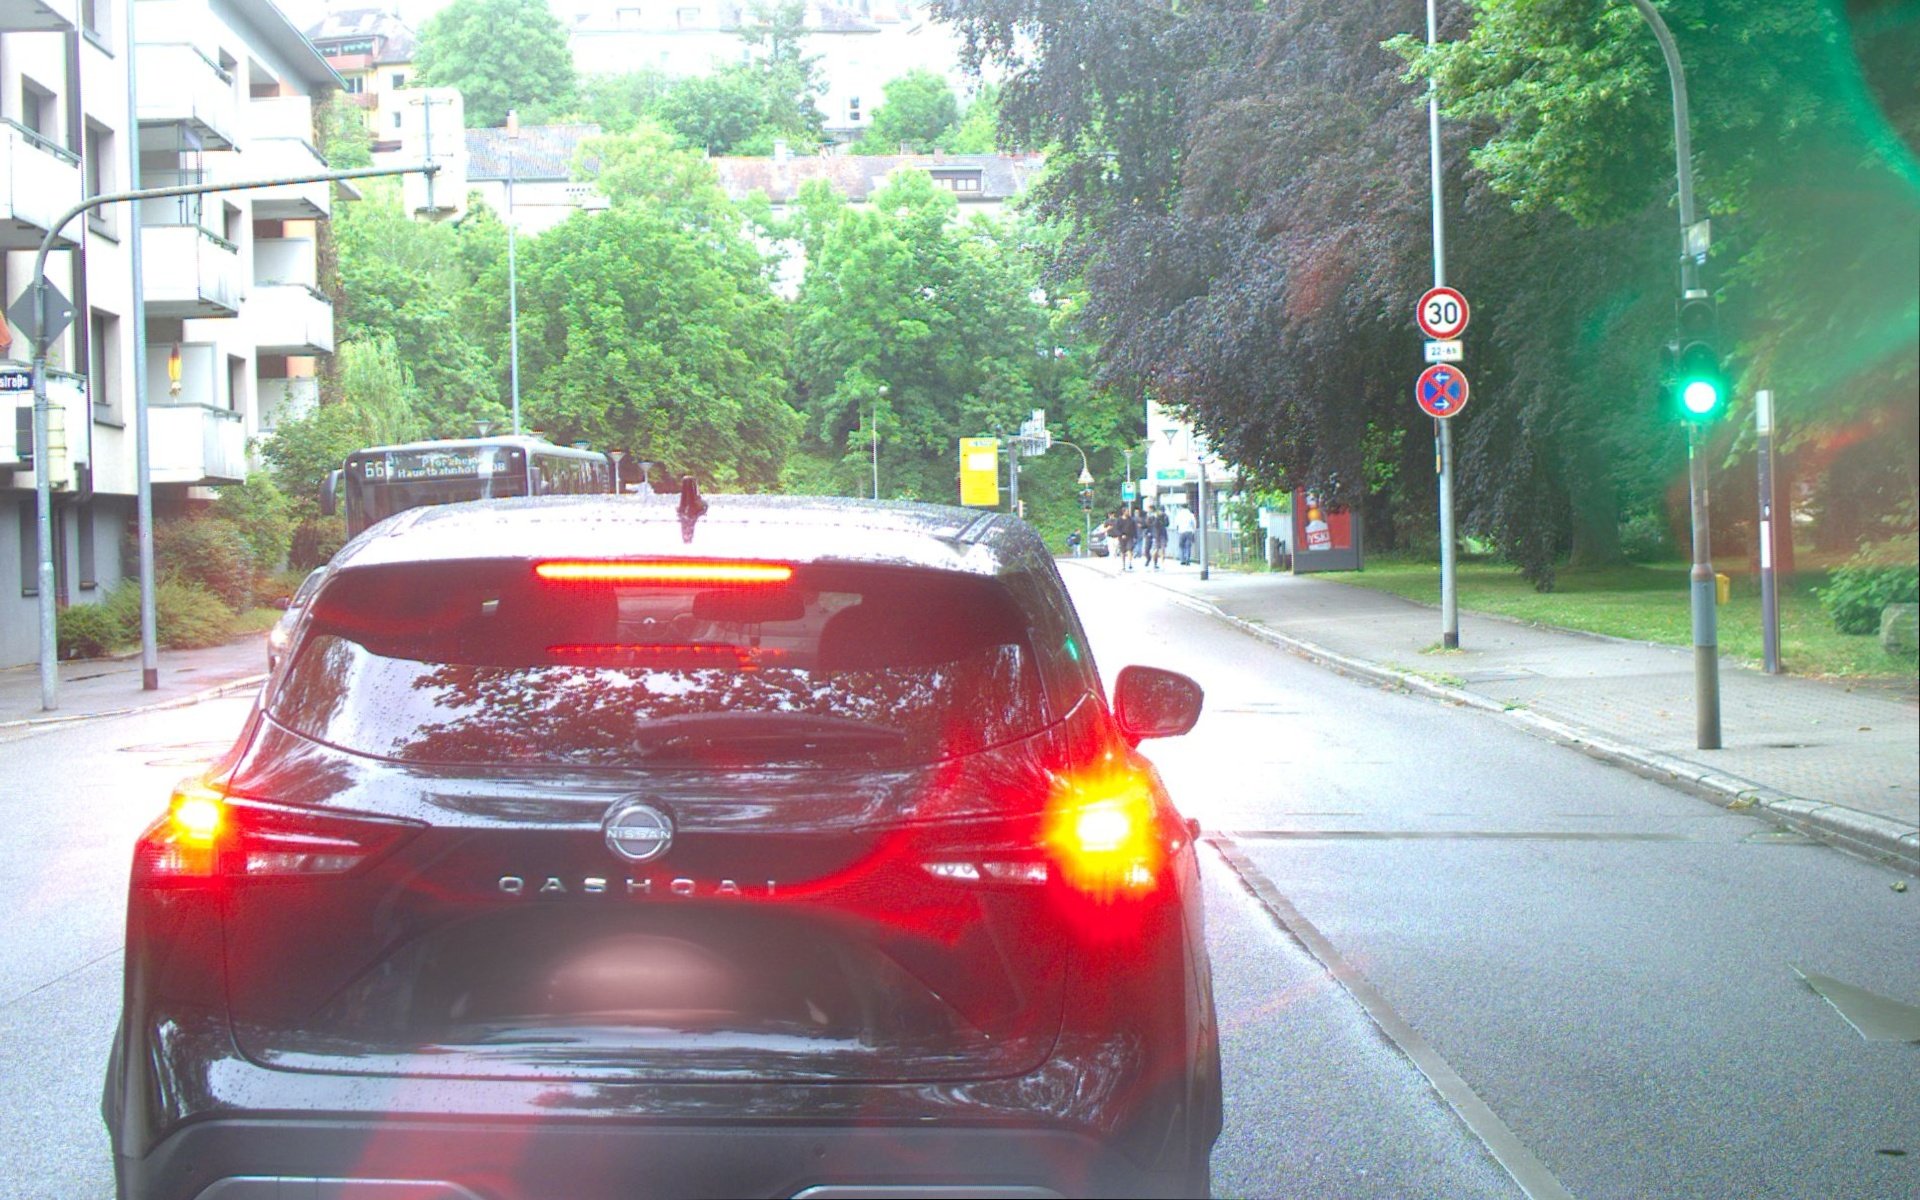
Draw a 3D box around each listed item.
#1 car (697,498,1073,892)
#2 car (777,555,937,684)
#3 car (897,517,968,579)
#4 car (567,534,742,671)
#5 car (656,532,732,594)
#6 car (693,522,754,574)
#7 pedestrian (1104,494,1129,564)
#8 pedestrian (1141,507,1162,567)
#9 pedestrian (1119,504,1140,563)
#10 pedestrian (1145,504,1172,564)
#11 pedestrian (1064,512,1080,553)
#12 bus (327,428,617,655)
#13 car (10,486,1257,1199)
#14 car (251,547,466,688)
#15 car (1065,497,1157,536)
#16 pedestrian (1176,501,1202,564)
[{"bbox_3d":[-0.303,0.388,17.278,1.622,1.703,3.771,-2,1,1],"label":"car"},{"bbox_3d":[-1.227,0.196,41.099,1.808,1.412,4.031,0,1,-2],"label":"car"},{"bbox_3d":[-0.658,-1.267,83.167,1.624,1.410,3.455,-2,1,0],"label":"car"},{"bbox_3d":[-3.407,-0.007,38.861,1.624,1.410,3.455,-2,1,0],"label":"car"},{"bbox_3d":[-6.823,-0.964,88.356,1.676,1.464,4.217,-3,1,-2],"label":"car"},{"bbox_3d":[-7.830,-1.749,114.038,1.750,1.628,3.635,-2,1,0],"label":"car"},{"bbox_3d":[4.861,-2.205,106.783,0.768,2.176,0.711,1,0,3],"label":"pedestrian"},{"bbox_3d":[5.251,-1.731,94.387,0.514,1.650,0.550,1,0,-1],"label":"pedestrian"},{"bbox_3d":[4.736,-1.857,96.037,0.544,1.645,0.490,1,0,0],"label":"pedestrian"},{"bbox_3d":[5.545,-1.846,96.118,0.699,1.645,0.628,1,0,0],"label":"pedestrian"},{"bbox_3d":[5.602,-3.388,171.614,0.699,2.007,0.583,-2,1,-1],"label":"pedestrian"},{"bbox_3d":[-7.139,-0.877,52.070,2.766,2.964,11.782,-2,1,-1],"label":"bus"},{"bbox_3d":[-0.503,0.617,7.020,1.806,1.584,4.000,1,1,-1],"label":"car"},{"bbox_3d":[-6.848,0.160,39.528,1.808,1.412,4.031,-3,1,-2],"label":"car"},{"bbox_3d":[7.185,-3.968,163.821,3.986,1.678,2.001,-2,1,-10],"label":"car"},{"bbox_3d":[6.590,-1.941,98.811,0.618,1.773,0.778,-2,1,-1],"label":"pedestrian"}]
